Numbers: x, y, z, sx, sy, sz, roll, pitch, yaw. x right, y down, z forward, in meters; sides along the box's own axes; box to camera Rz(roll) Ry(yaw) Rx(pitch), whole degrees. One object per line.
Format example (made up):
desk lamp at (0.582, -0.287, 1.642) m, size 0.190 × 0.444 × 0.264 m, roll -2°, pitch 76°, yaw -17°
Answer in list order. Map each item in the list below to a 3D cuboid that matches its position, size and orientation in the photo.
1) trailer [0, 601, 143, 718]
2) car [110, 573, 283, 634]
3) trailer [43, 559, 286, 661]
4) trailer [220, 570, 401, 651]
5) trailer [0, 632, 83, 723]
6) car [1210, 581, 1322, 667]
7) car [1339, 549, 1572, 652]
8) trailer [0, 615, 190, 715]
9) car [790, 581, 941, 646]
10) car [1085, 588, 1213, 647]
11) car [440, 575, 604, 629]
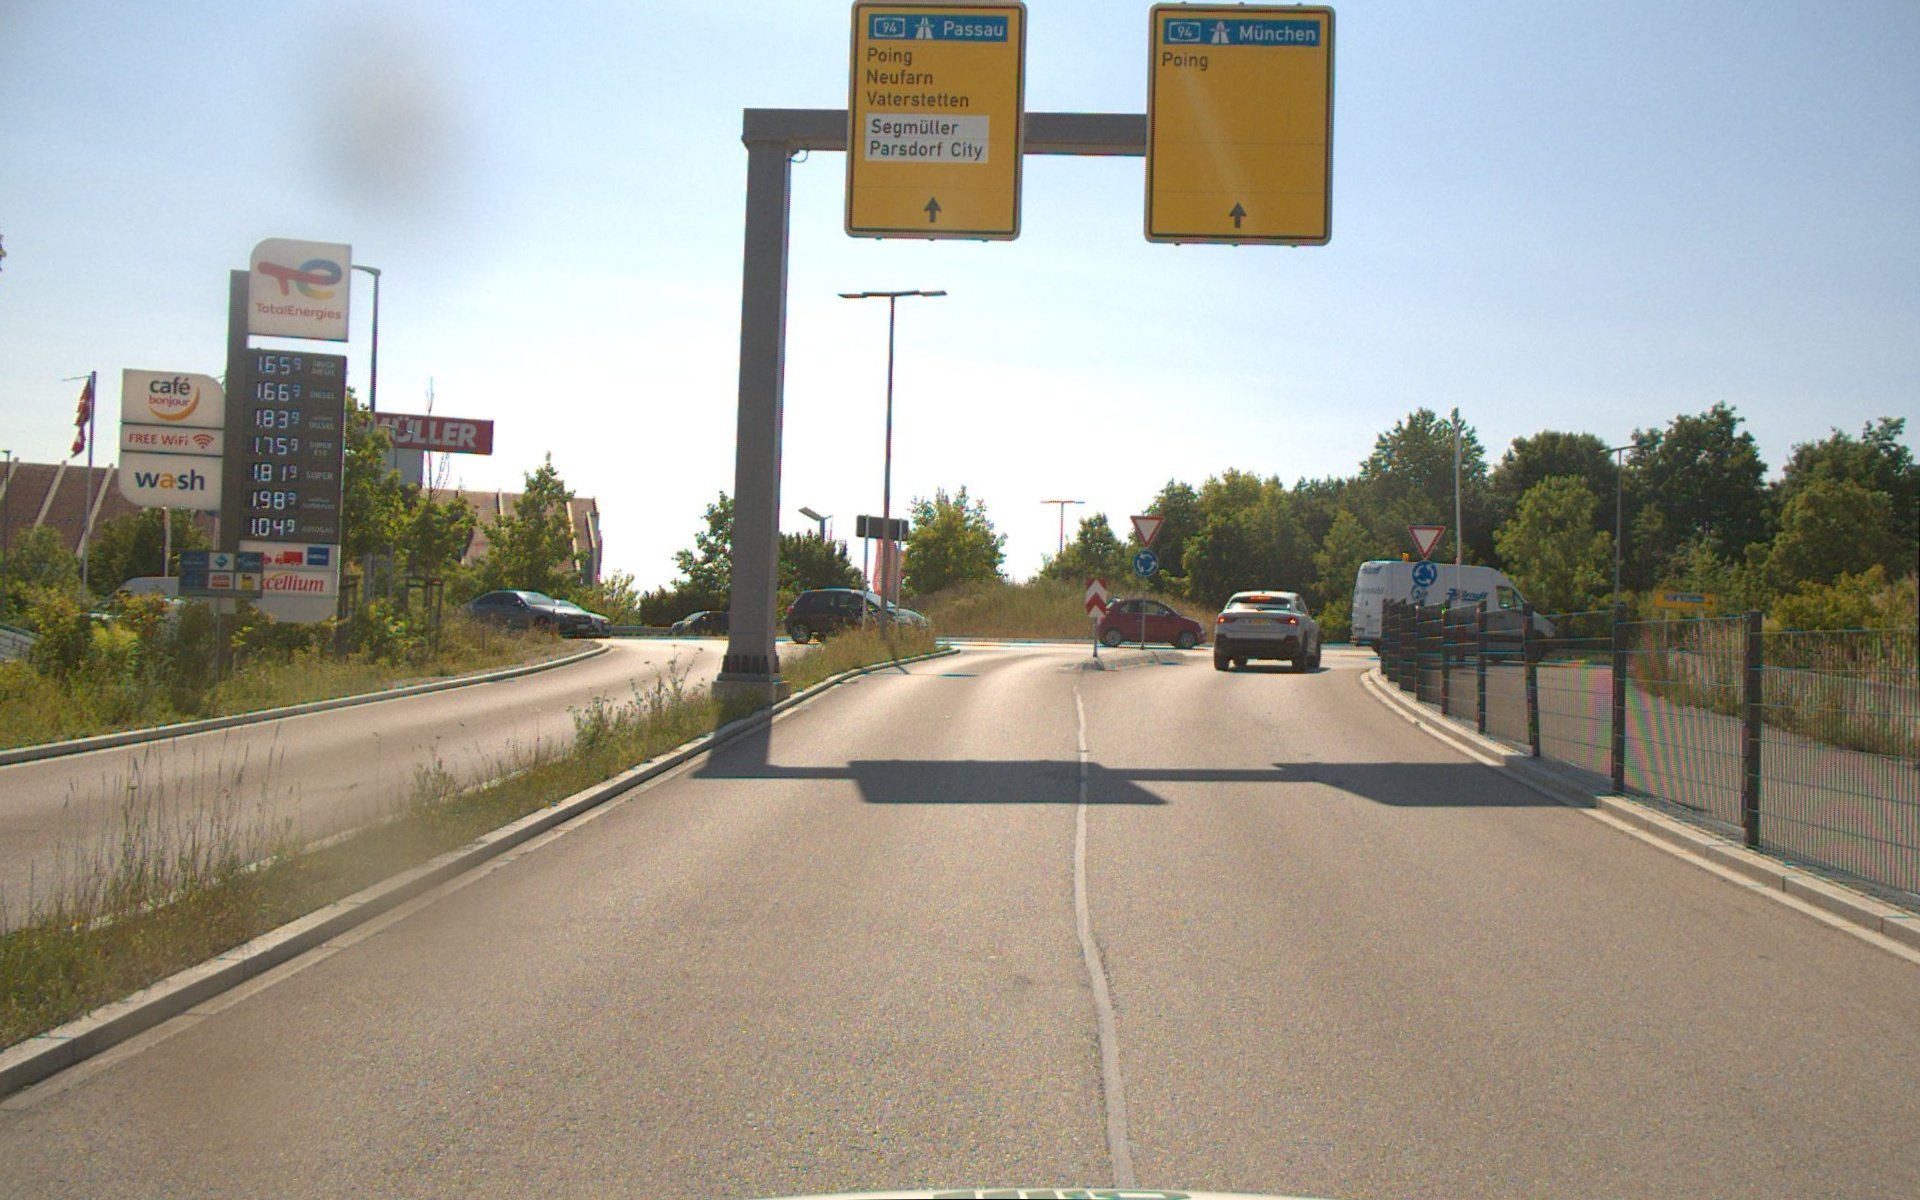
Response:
trailer at (-13.081, 0.781, 22.648) m, size 3.132 × 1.509 × 1.540 m, roll 2°, pitch -1°, yaw -18°
car at (-31.669, 0.148, 68.776) m, size 6.139 × 2.273 × 2.035 m, roll 2°, pitch -1°, yaw -10°
trailer at (-14.048, 0.185, 29.253) m, size 3.648 × 1.477 × 1.690 m, roll 6°, pitch -2°, yaw -32°
trailer at (-14.997, 0.224, 38.214) m, size 3.648 × 1.803 × 1.788 m, roll 0°, pitch 0°, yaw -32°
trailer at (-12.716, 0.963, 20.989) m, size 2.734 × 1.105 × 1.309 m, roll 2°, pitch -1°, yaw -28°
car at (6.381, 0.486, 34.125) m, size 1.802 × 1.624 × 4.327 m, roll 1°, pitch -1°, yaw 17°
car at (13.905, 0.036, 46.448) m, size 6.073 × 2.599 × 2.081 m, roll 2°, pitch -1°, yaw -17°
trailer at (-13.101, 0.944, 24.414) m, size 2.852 × 1.345 × 1.385 m, roll 2°, pitch -1°, yaw -13°
car at (-2.620, 0.366, 46.209) m, size 3.864 × 1.646 × 1.820 m, roll 2°, pitch -1°, yaw 9°
car at (5.815, 0.544, 51.248) m, size 3.648 × 1.646 × 1.872 m, roll 2°, pitch -1°, yaw -3°
car at (-13.508, 0.069, 50.931) m, size 4.764 × 1.477 × 1.997 m, roll 2°, pitch -1°, yaw 28°
